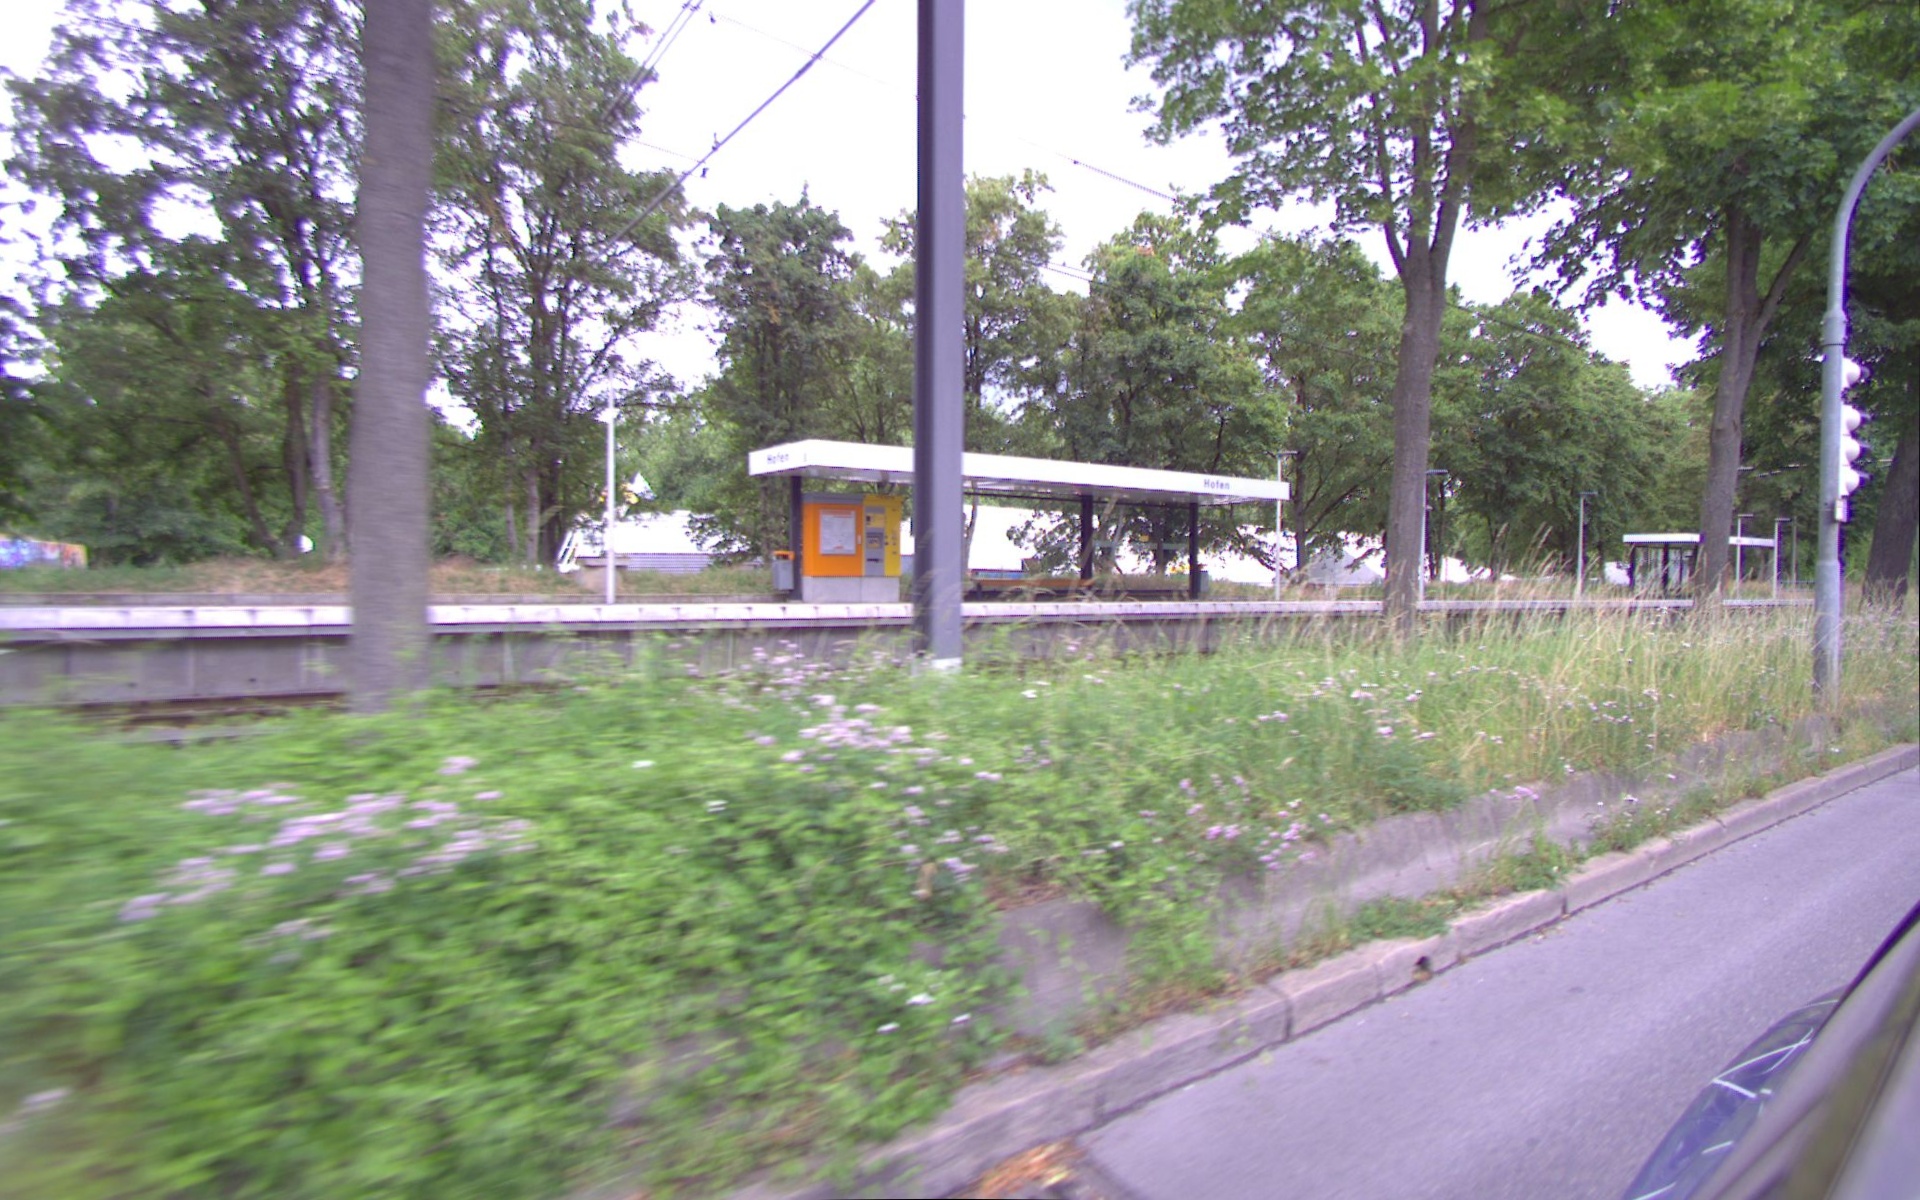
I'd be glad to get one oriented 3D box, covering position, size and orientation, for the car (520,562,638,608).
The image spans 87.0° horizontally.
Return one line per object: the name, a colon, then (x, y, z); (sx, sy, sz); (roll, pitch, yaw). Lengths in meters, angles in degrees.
car: (-20.674, -0.799, 55.026); (5.699, 2.413, 1.999); (0, 1, -37)
